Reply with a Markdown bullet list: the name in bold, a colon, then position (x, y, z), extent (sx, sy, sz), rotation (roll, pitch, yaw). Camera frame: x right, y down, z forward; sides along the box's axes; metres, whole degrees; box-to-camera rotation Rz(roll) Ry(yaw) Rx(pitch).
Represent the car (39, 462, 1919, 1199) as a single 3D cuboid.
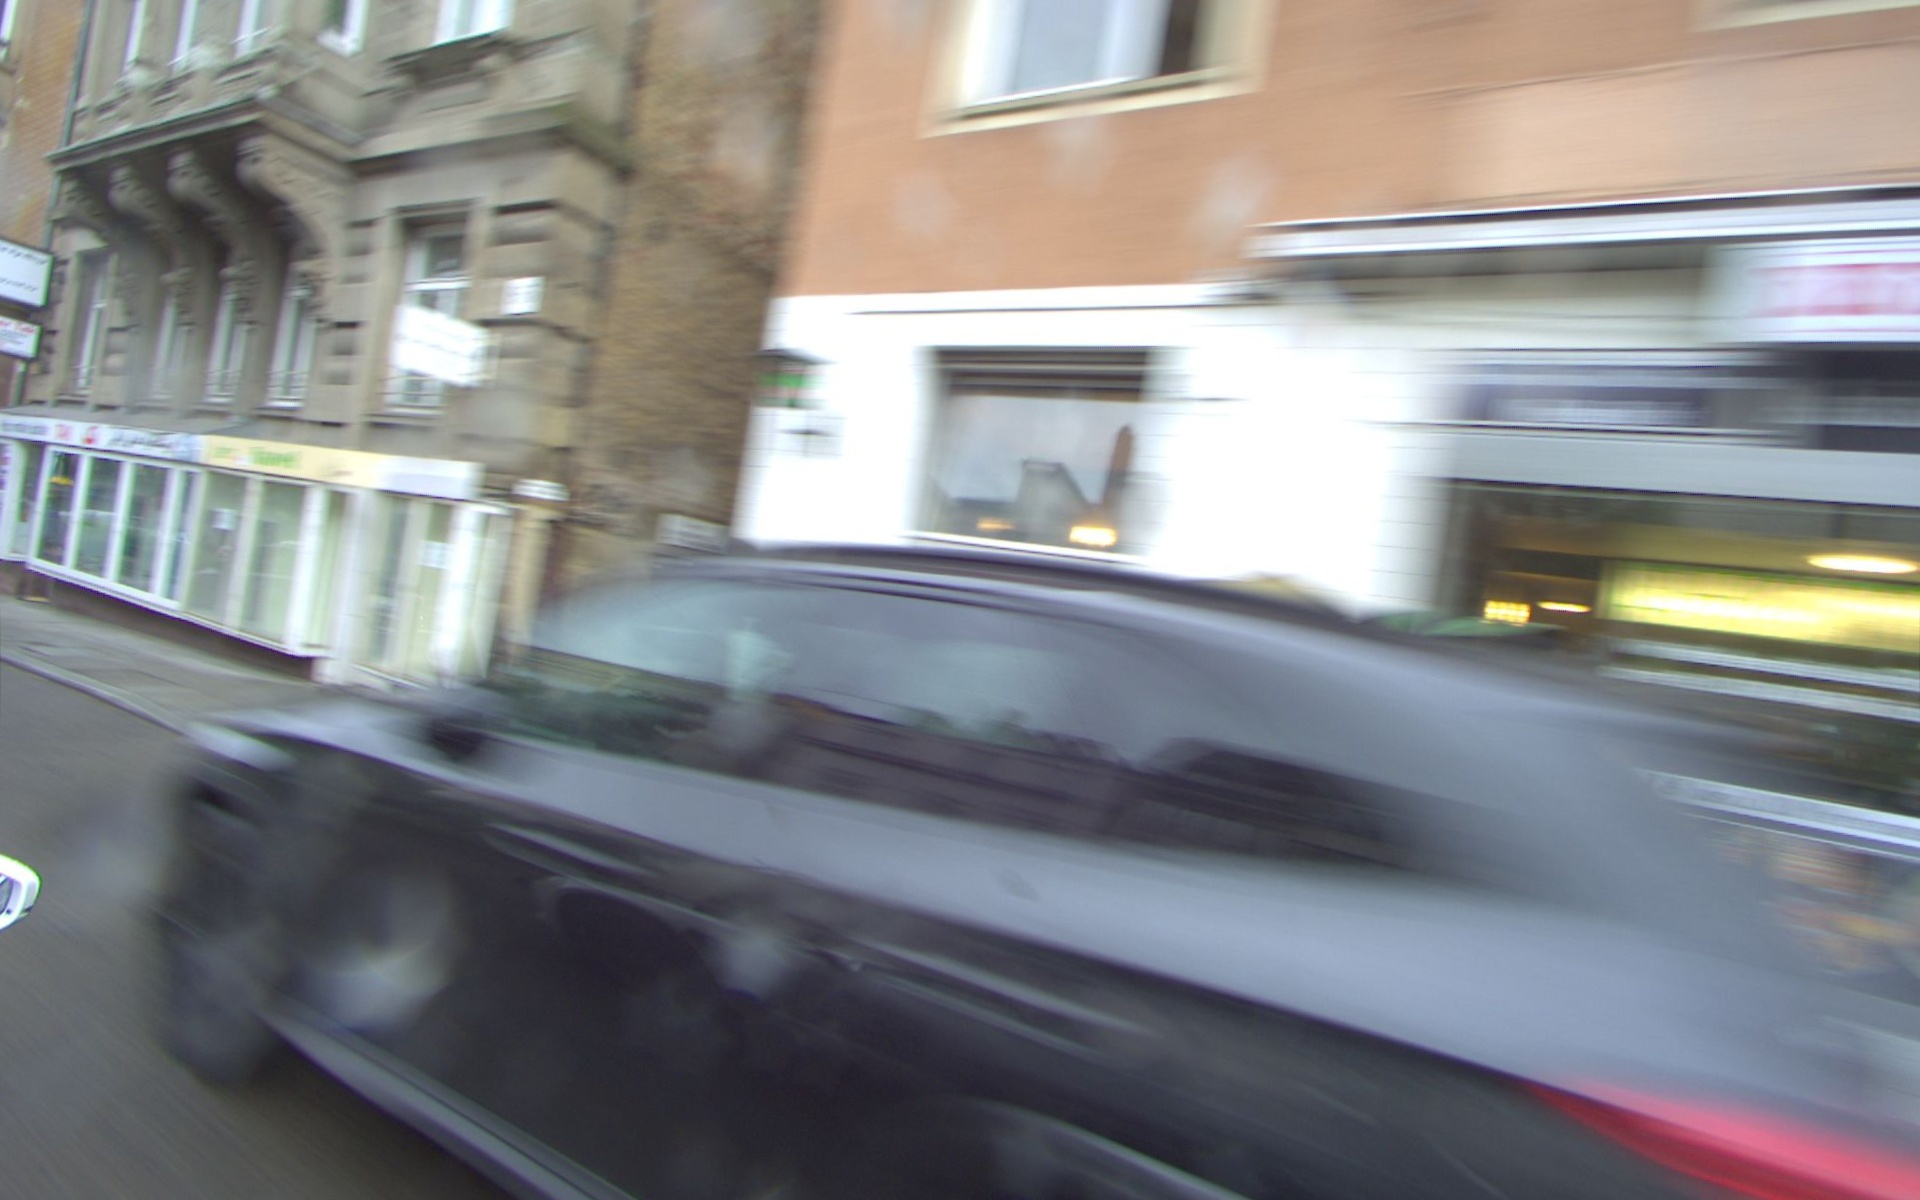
- **car**: position (-0.433, 0.657, 2.792), extent (4.511, 1.650, 1.849), rotation (5, -3, 32)
